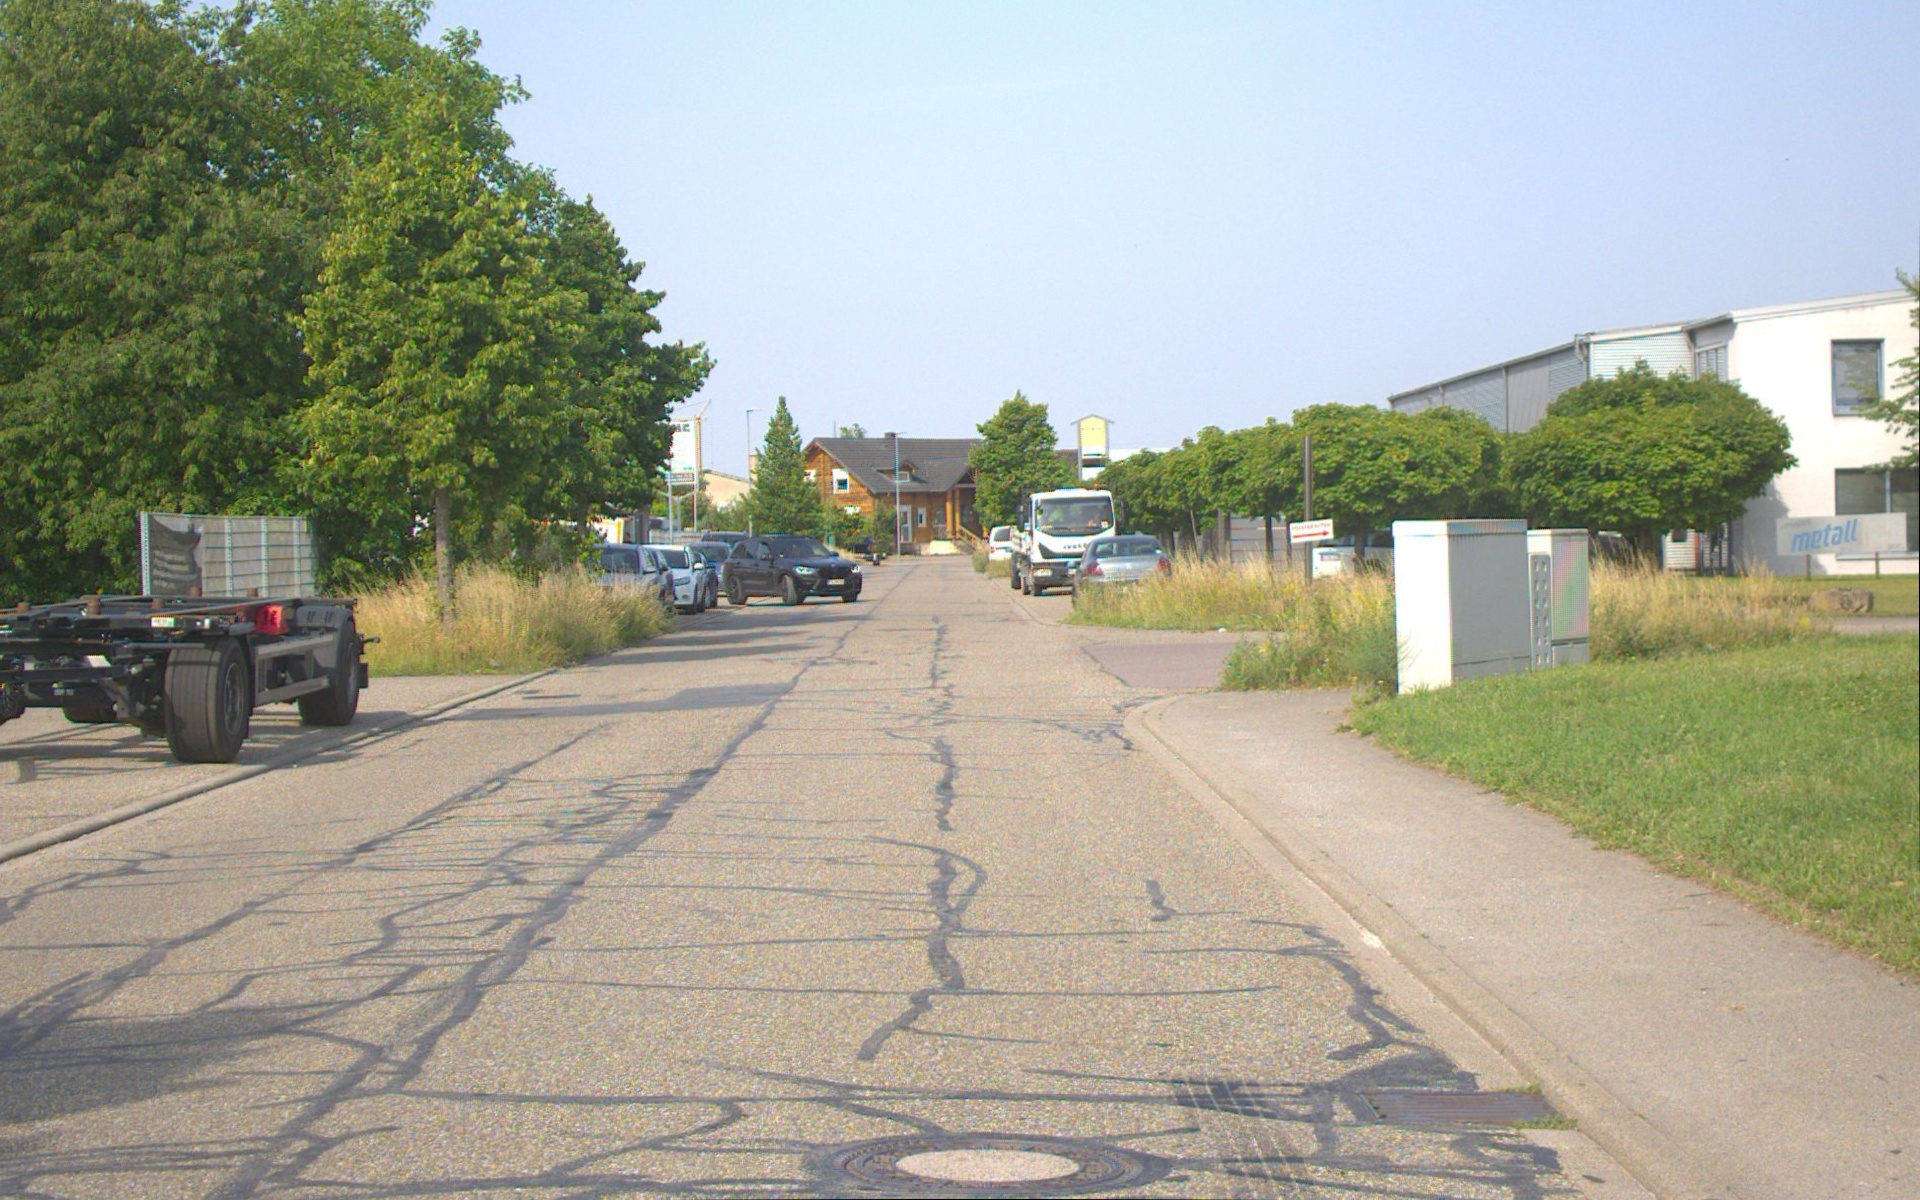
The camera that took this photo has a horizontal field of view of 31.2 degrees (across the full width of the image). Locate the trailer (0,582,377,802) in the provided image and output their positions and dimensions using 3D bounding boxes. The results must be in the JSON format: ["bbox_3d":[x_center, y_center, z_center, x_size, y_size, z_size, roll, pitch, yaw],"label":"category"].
[{"bbox_3d":[-6.361,0.532,25.475,2.582,1.180,9.364,0,1,-1],"label":"trailer"}]

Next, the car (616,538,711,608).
[{"bbox_3d":[-6.348,-0.602,73.989,1.683,1.464,4.254,0,1,0],"label":"car"}]

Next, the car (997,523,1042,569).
[{"bbox_3d":[2.573,-2.348,149.230,1.837,1.917,3.756,-2,1,0],"label":"car"}]

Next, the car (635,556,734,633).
[{"bbox_3d":[-5.474,-0.130,68.566,1.578,1.438,3.963,0,1,1],"label":"car"}]

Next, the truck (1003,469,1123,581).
[{"bbox_3d":[2.557,-1.898,86.964,2.359,2.672,6.512,-1,1,-4],"label":"truck"}]

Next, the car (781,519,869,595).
[{"bbox_3d":[-3.259,-1.080,83.705,1.856,1.709,4.226,-3,1,1],"label":"car"}]

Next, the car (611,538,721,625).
[{"bbox_3d":[-5.457,-0.375,64.158,1.566,1.533,3.688,-1,1,2],"label":"car"}]

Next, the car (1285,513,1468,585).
[{"bbox_3d":[8.715,-1.078,71.866,3.687,1.375,1.687,-3,2,-40],"label":"car"}]

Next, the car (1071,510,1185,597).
[{"bbox_3d":[3.064,-0.878,63.369,1.794,1.512,4.424,-1,1,-1],"label":"car"}]
